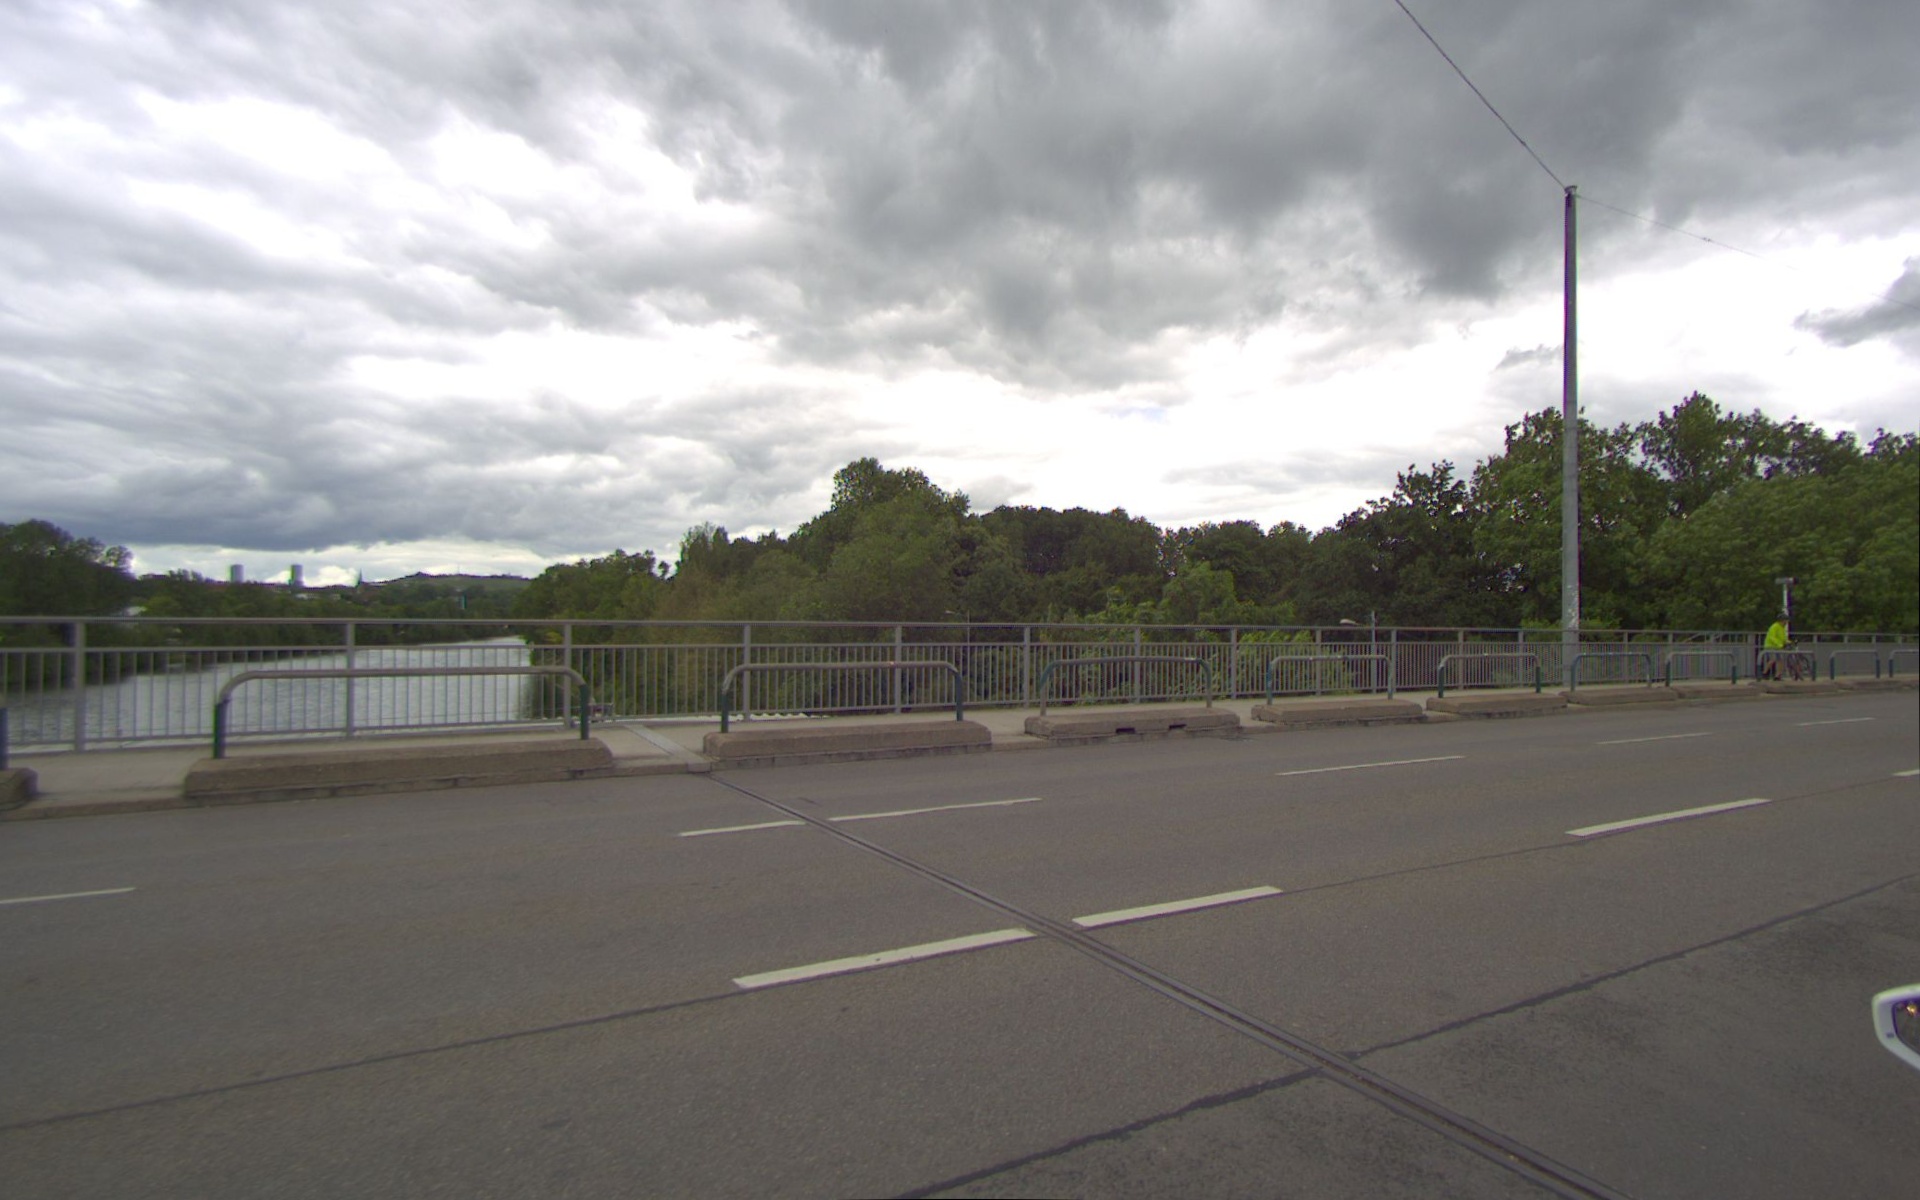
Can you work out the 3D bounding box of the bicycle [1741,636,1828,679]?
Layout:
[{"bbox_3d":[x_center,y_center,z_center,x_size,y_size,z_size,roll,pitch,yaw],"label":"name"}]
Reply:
[{"bbox_3d":[22.521,1.543,27.508,0.902,1.065,2.800,0,-1,19],"label":"bicycle"}]

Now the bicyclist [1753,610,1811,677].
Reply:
[{"bbox_3d":[22.555,1.168,27.590,0.887,1.788,1.136,0,-1,19],"label":"bicyclist"}]
